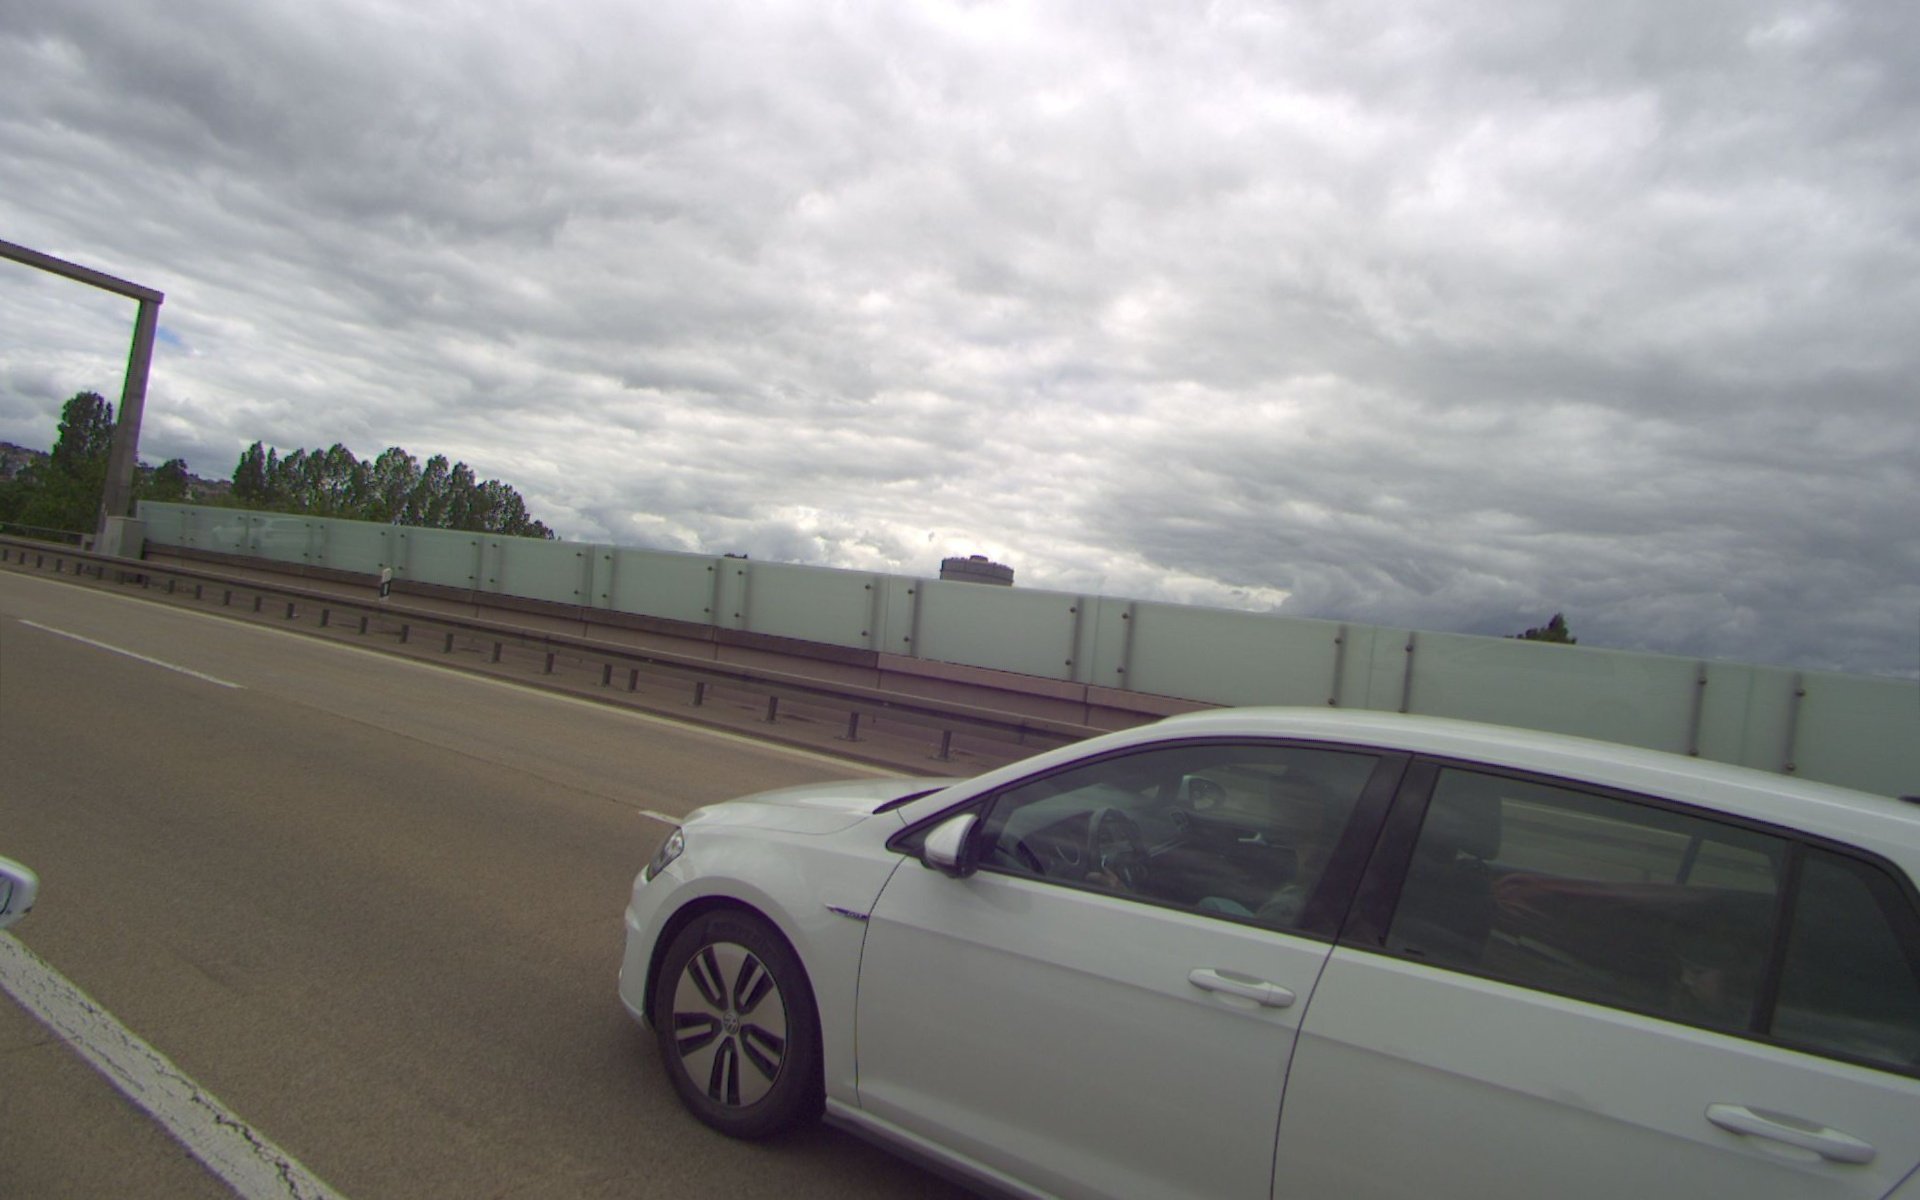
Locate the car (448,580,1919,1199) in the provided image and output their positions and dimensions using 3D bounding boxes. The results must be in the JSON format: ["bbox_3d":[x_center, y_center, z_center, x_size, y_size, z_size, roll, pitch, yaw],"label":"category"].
[{"bbox_3d":[0.531,0.936,3.061,4.004,1.469,1.758,7,-1,31],"label":"car"}]
